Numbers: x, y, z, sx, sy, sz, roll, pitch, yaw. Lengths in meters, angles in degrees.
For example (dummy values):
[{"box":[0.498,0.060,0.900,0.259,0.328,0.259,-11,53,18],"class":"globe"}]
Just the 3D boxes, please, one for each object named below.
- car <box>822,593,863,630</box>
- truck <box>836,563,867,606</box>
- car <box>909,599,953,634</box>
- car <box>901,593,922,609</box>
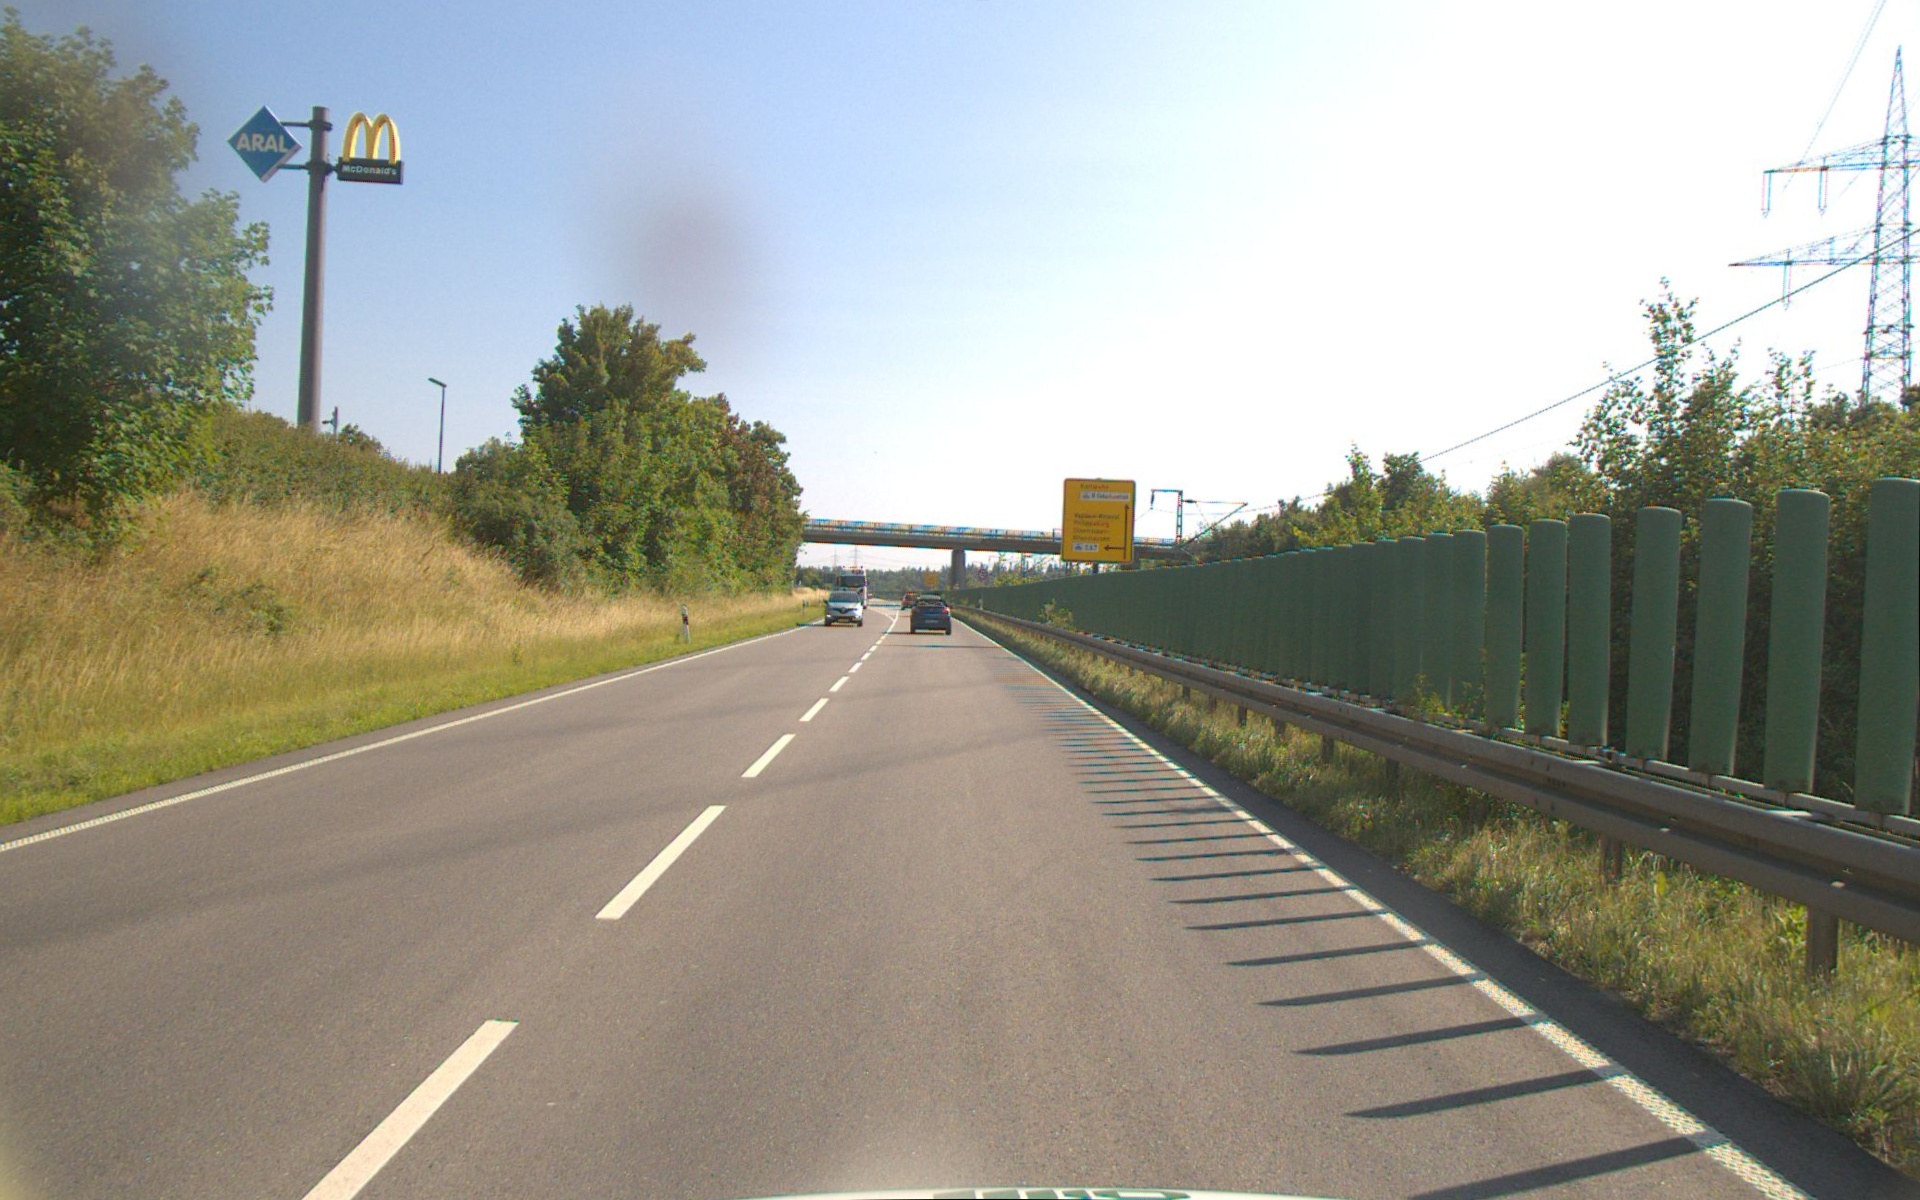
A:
[{"box":[-5.425,0.530,76.672,1.760,1.621,3.998,1,0,-2],"class":"car"},{"box":[-9.900,-1.377,152.050,2.508,3.753,10.482,1,0,-2],"class":"truck"},{"box":[-1.179,0.639,65.160,1.630,1.283,3.998,1,0,-2],"class":"car"},{"box":[-4.545,0.104,153.584,1.857,1.443,3.998,1,0,-2],"class":"car"}]
